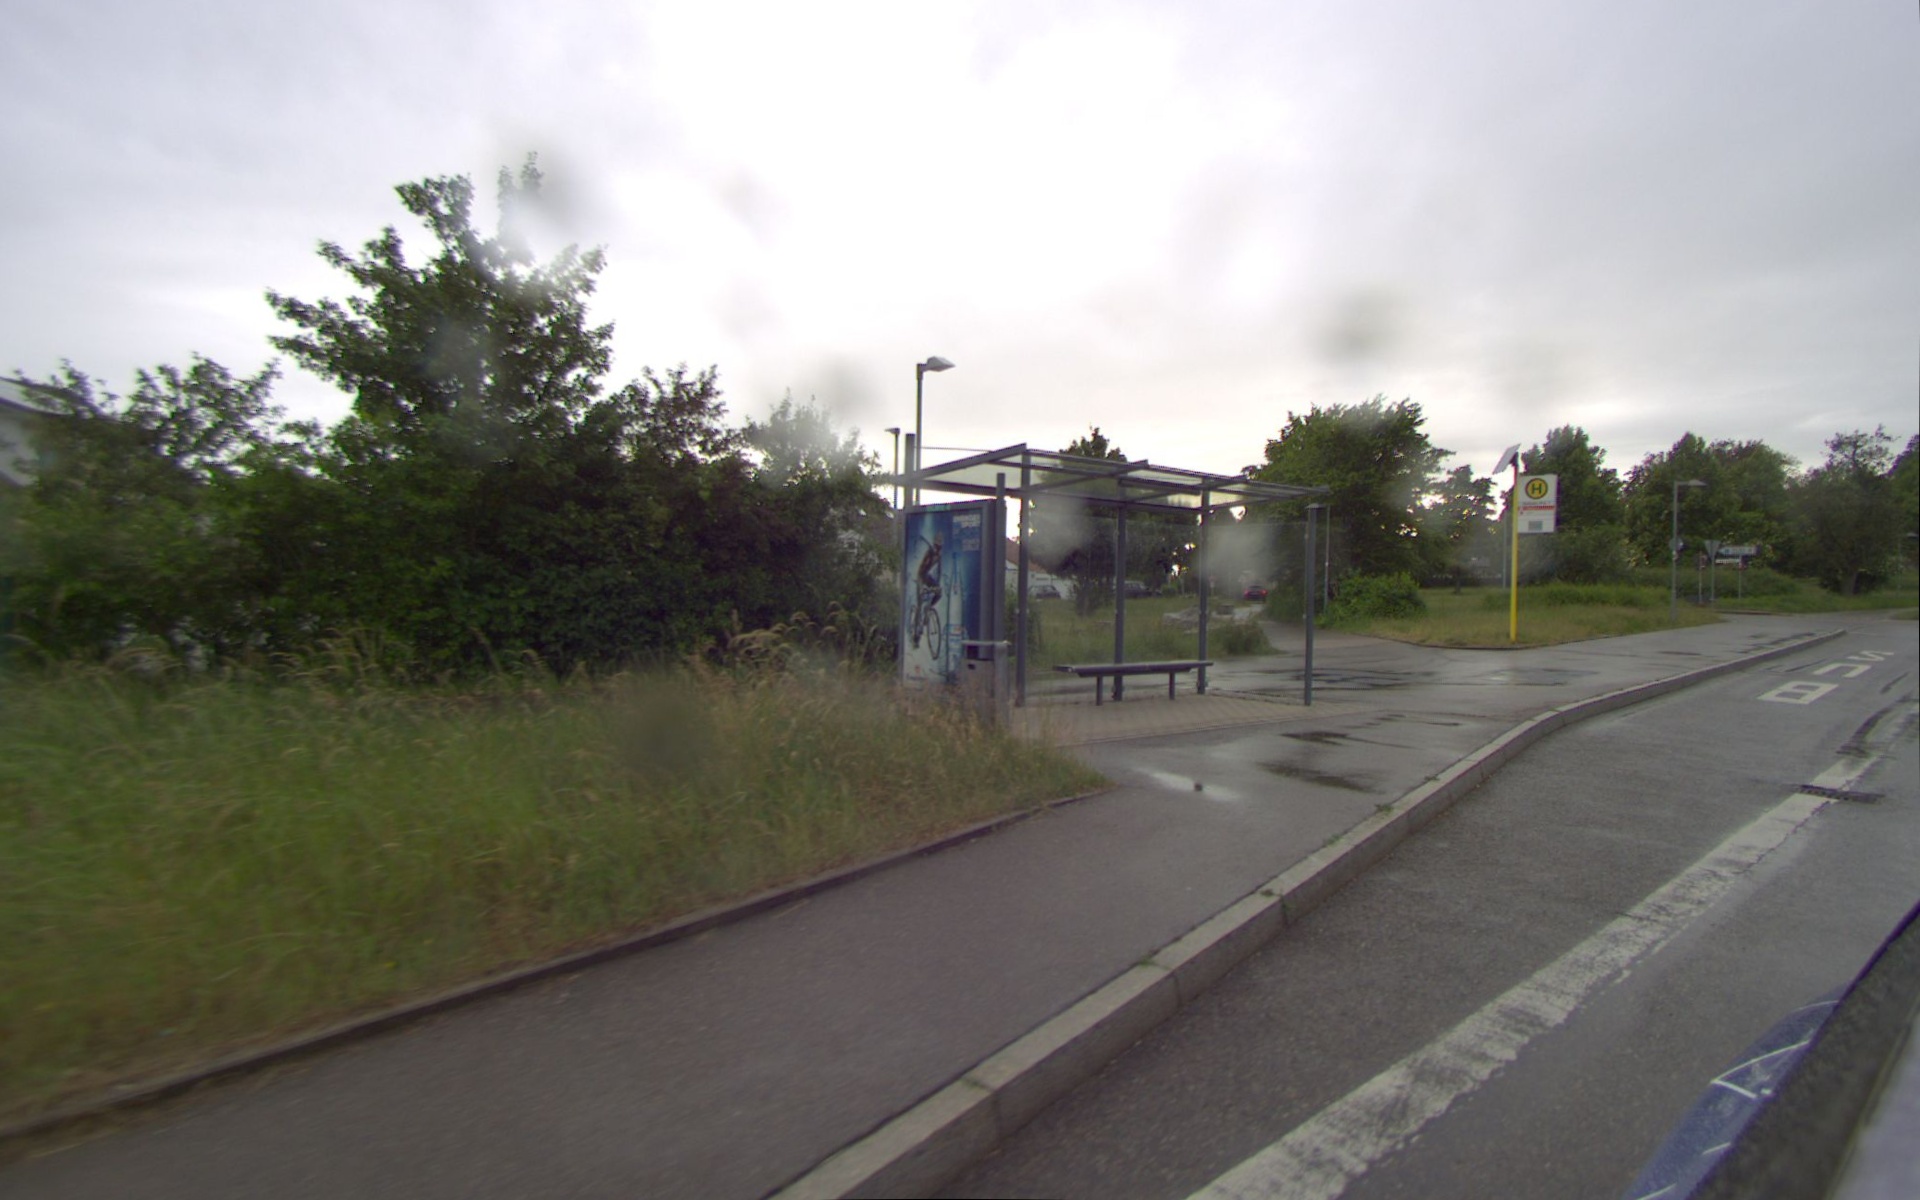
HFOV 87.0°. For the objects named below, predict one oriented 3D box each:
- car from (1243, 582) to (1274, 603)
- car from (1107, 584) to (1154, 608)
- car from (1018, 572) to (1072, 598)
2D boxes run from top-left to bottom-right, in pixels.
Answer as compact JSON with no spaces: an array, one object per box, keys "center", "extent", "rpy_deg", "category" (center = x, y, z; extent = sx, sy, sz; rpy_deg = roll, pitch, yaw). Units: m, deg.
[{"center":[22.875,-0.608,77.726],"extent":[1.785,1.522,3.603],"rpy_deg":[0,1,8],"category":"car"},{"center":[13.444,-0.367,79.564],"extent":[1.777,1.707,4.440],"rpy_deg":[1,3,38],"category":"car"},{"center":[6.065,-1.100,71.981],"extent":[1.991,1.771,3.860],"rpy_deg":[0,2,40],"category":"car"}]
